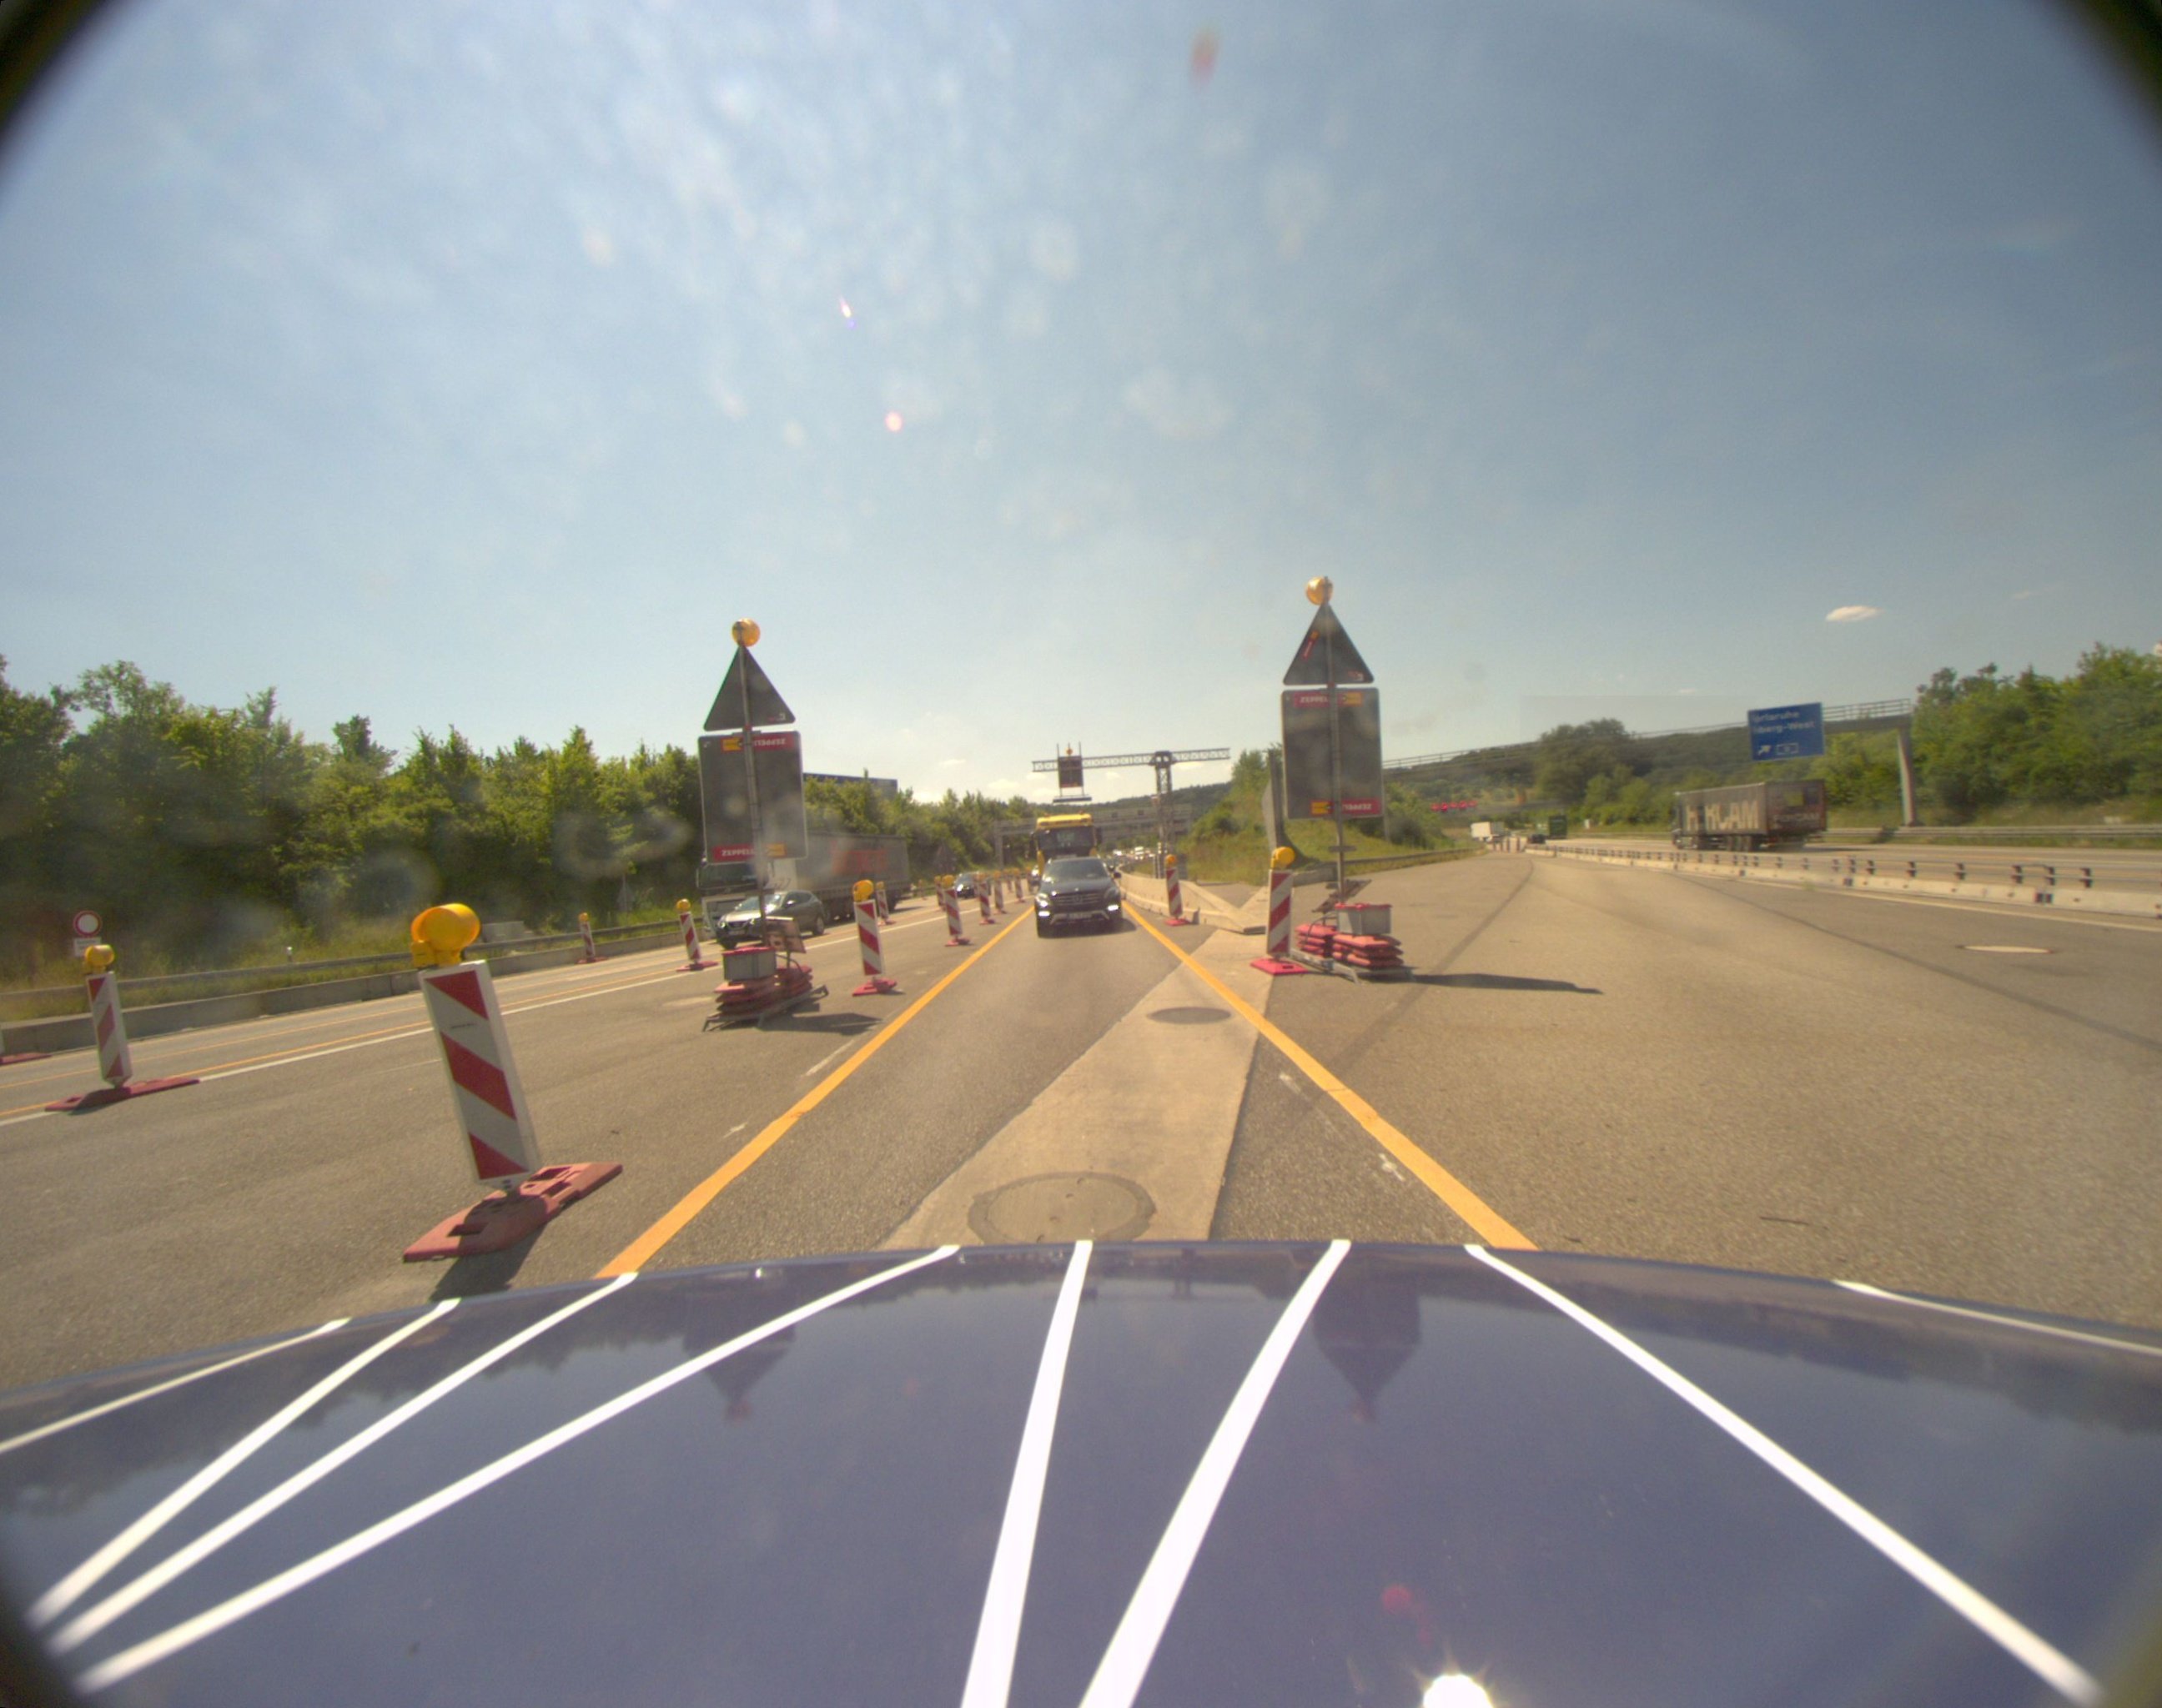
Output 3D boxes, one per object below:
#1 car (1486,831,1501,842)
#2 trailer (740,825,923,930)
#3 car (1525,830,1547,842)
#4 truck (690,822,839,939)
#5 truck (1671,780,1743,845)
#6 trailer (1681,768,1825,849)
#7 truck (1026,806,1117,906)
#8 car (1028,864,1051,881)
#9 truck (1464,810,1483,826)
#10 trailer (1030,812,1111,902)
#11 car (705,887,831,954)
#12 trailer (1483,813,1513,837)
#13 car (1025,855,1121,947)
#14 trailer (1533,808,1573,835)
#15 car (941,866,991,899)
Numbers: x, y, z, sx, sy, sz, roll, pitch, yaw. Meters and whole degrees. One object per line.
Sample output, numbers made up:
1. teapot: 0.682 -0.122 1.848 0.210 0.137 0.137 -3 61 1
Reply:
1. car: 72.481 -3.083 133.555 1.718 1.614 4.175 -4 0 20
2. trailer: -11.401 0.912 37.212 2.546 3.929 13.875 -6 0 6
3. car: 61.411 -2.454 102.518 1.718 1.482 3.692 -4 0 19
4. truck: -12.223 0.935 29.963 2.532 3.927 5.601 -6 0 7
5. truck: 44.370 -2.865 53.995 2.434 4.245 4.845 -4 0 23
6. trailer: 41.708 -2.660 47.882 2.438 4.271 13.828 -4 0 24
7. truck: -0.471 0.116 33.651 3.230 3.639 7.083 -6 -1 -1
8. car: -4.930 2.167 90.614 1.819 1.685 4.495 -6 0 6
9. truck: 116.958 -10.750 226.484 3.550 4.245 13.926 -5 0 23
10. trailer: -0.688 0.256 42.197 3.237 3.645 17.421 -6 -1 -2
11. car: -9.604 1.983 23.681 1.709 1.543 4.033 -6 0 7
12. trailer: 83.144 -5.818 151.866 3.550 4.245 13.926 -5 0 23
13. car: -0.085 0.978 17.928 1.819 1.685 4.493 -6 0 2
14. trailer: 82.078 -5.662 132.406 3.550 4.245 13.926 -5 0 23
15. car: -7.306 1.768 48.717 1.819 1.685 4.495 -6 0 7
